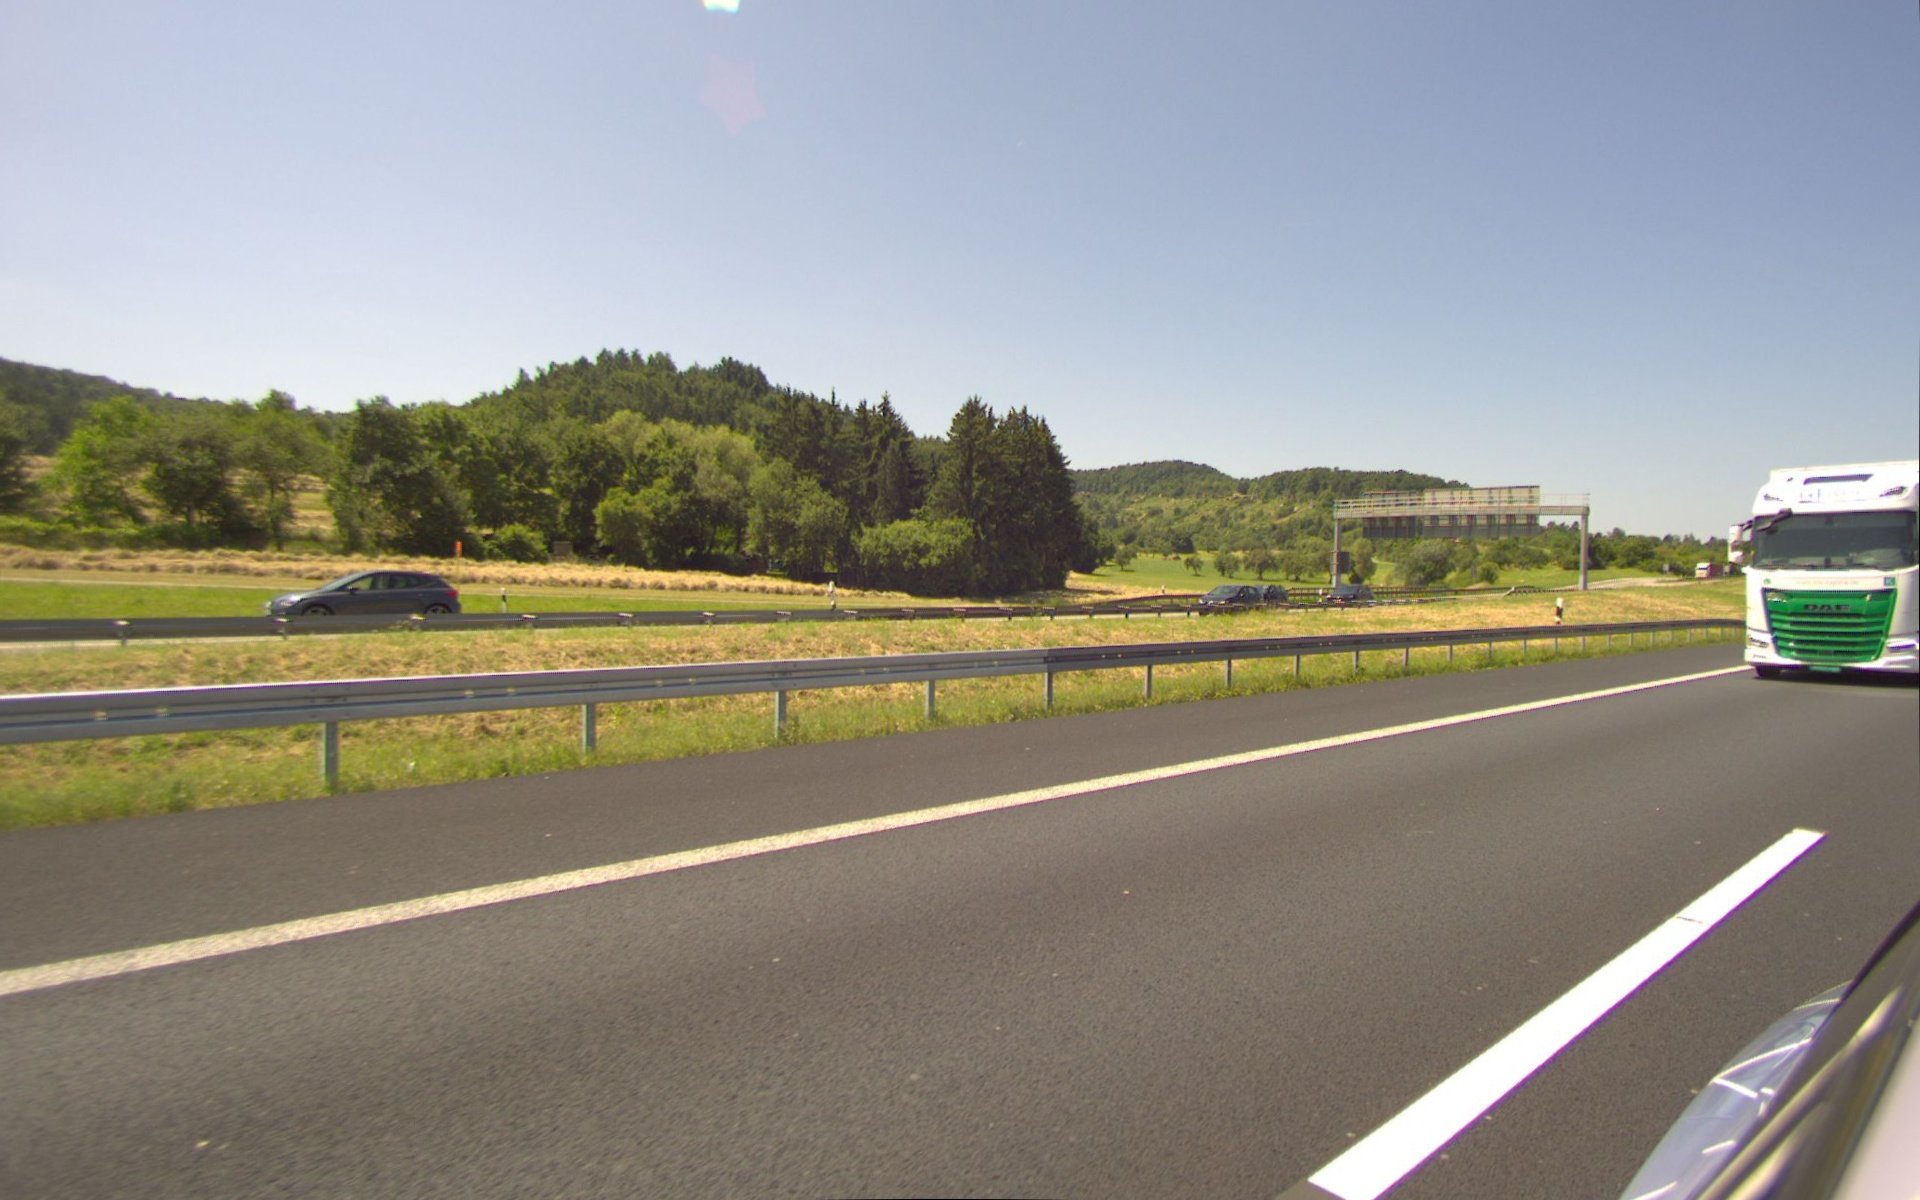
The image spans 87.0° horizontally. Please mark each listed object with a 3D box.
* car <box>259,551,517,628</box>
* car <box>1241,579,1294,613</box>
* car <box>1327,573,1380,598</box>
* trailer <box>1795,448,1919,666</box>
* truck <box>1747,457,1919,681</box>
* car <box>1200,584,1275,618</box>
[{"bbox_3d":[-13.767,-0.268,24.581,5.142,1.683,1.995,-1,1,-44],"label":"car"},{"bbox_3d":[19.304,-0.284,63.476,1.989,2.039,3.947,0,0,37],"label":"car"},{"bbox_3d":[24.529,-0.900,62.986,1.886,1.491,3.808,0,1,42],"label":"car"},{"bbox_3d":[23.792,-0.879,24.941,14.635,4.241,2.660,0,0,-41],"label":"trailer"},{"bbox_3d":[16.654,-0.533,18.655,4.328,3.638,2.646,-1,0,-41],"label":"truck"},{"bbox_3d":[12.137,0.025,44.228,1.774,1.417,3.706,0,1,40],"label":"car"}]
